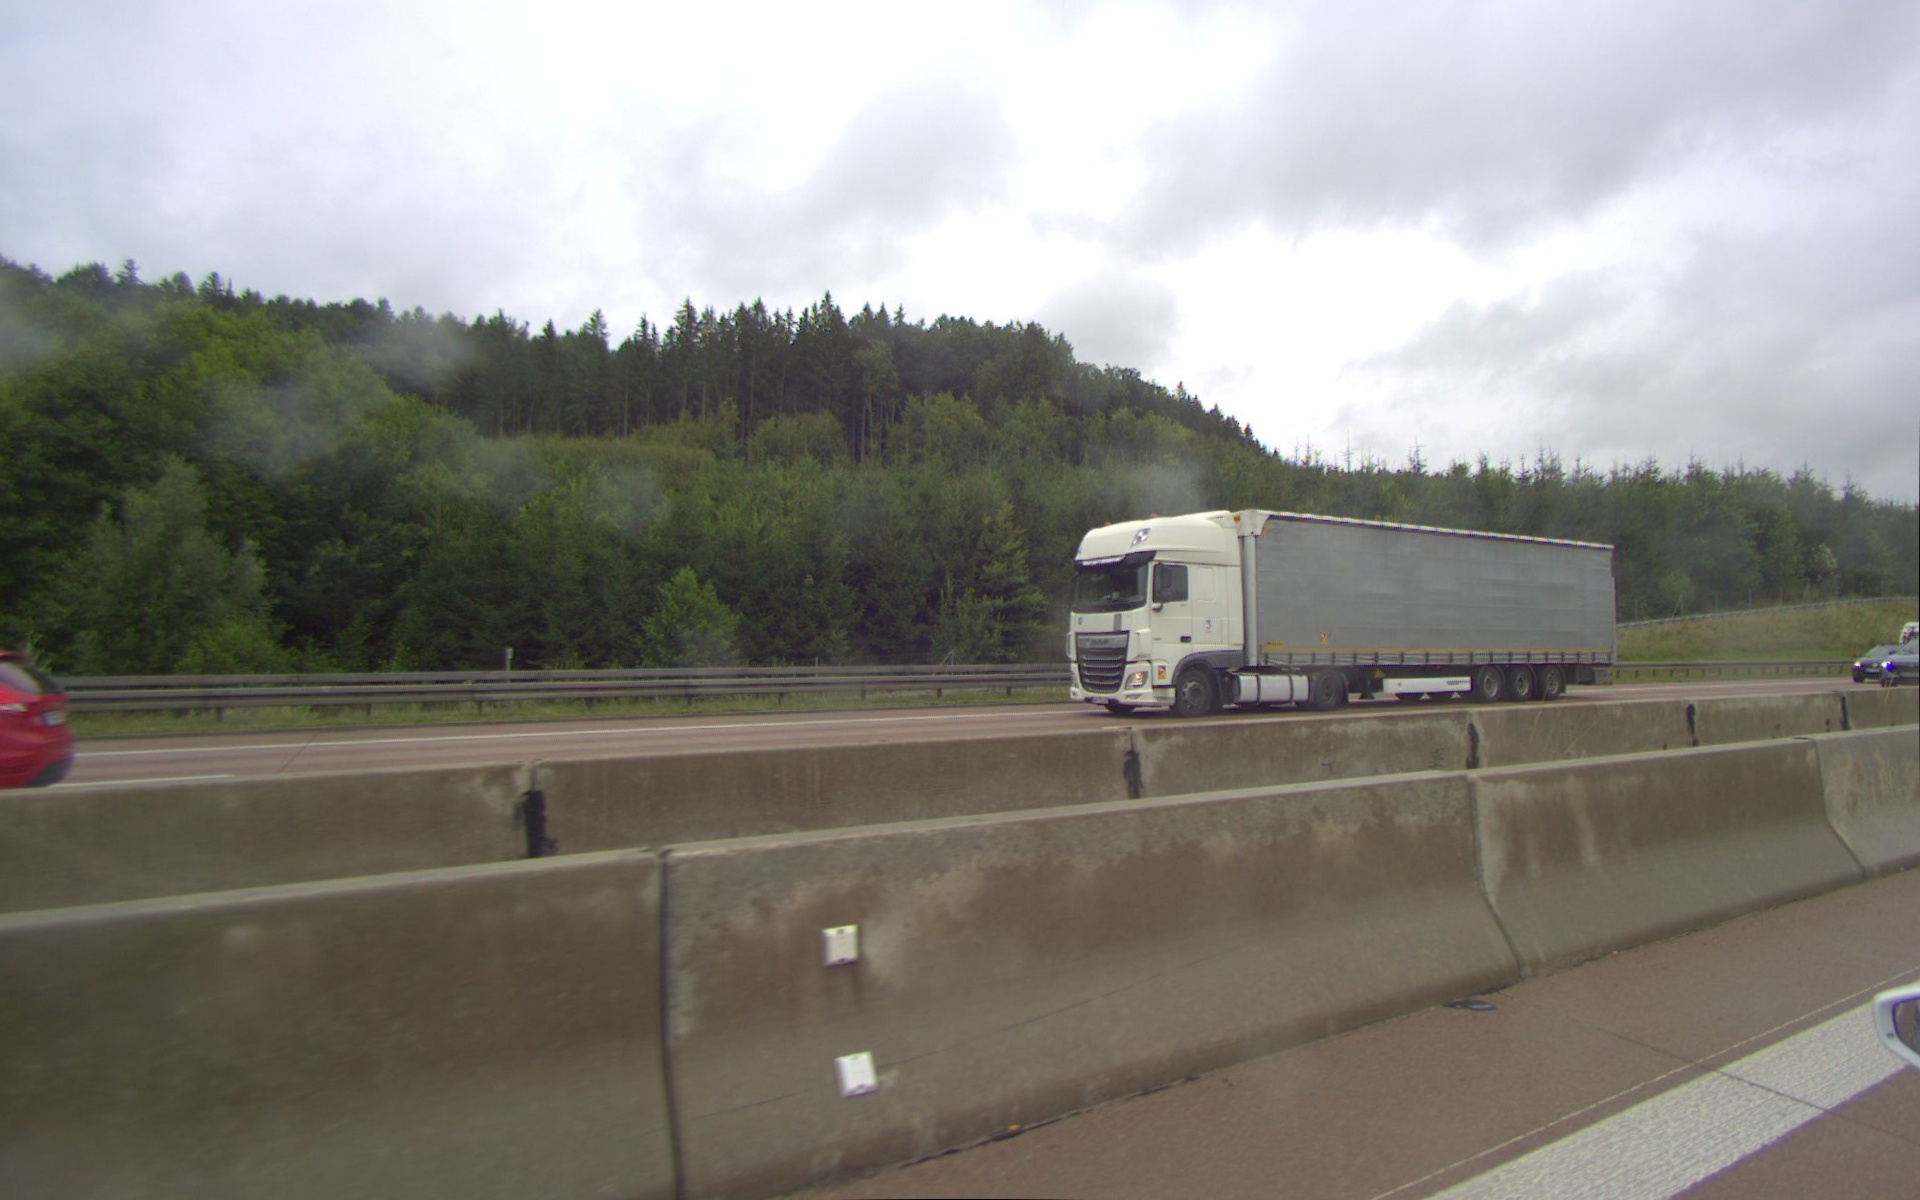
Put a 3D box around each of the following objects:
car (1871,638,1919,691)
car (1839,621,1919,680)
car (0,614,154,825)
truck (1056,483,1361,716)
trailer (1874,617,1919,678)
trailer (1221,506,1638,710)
[{"bbox_3d":[30.489,1.966,31.144,5.610,1.578,1.684,1,-3,-30],"label":"car"},{"bbox_3d":[36.069,1.948,38.909,4.378,2.181,1.749,1,-3,-31],"label":"car"},{"bbox_3d":[-8.991,0.867,7.553,4.230,1.565,1.984,3,-4,-30],"label":"car"},{"bbox_3d":[5.239,0.154,20.946,5.931,4.230,2.756,3,-3,-30],"label":"truck"},{"bbox_3d":[40.300,1.947,41.453,5.374,2.443,2.267,1,-3,-30],"label":"trailer"},{"bbox_3d":[12.068,0.467,24.952,12.607,4.193,2.727,3,-3,-30],"label":"trailer"}]
